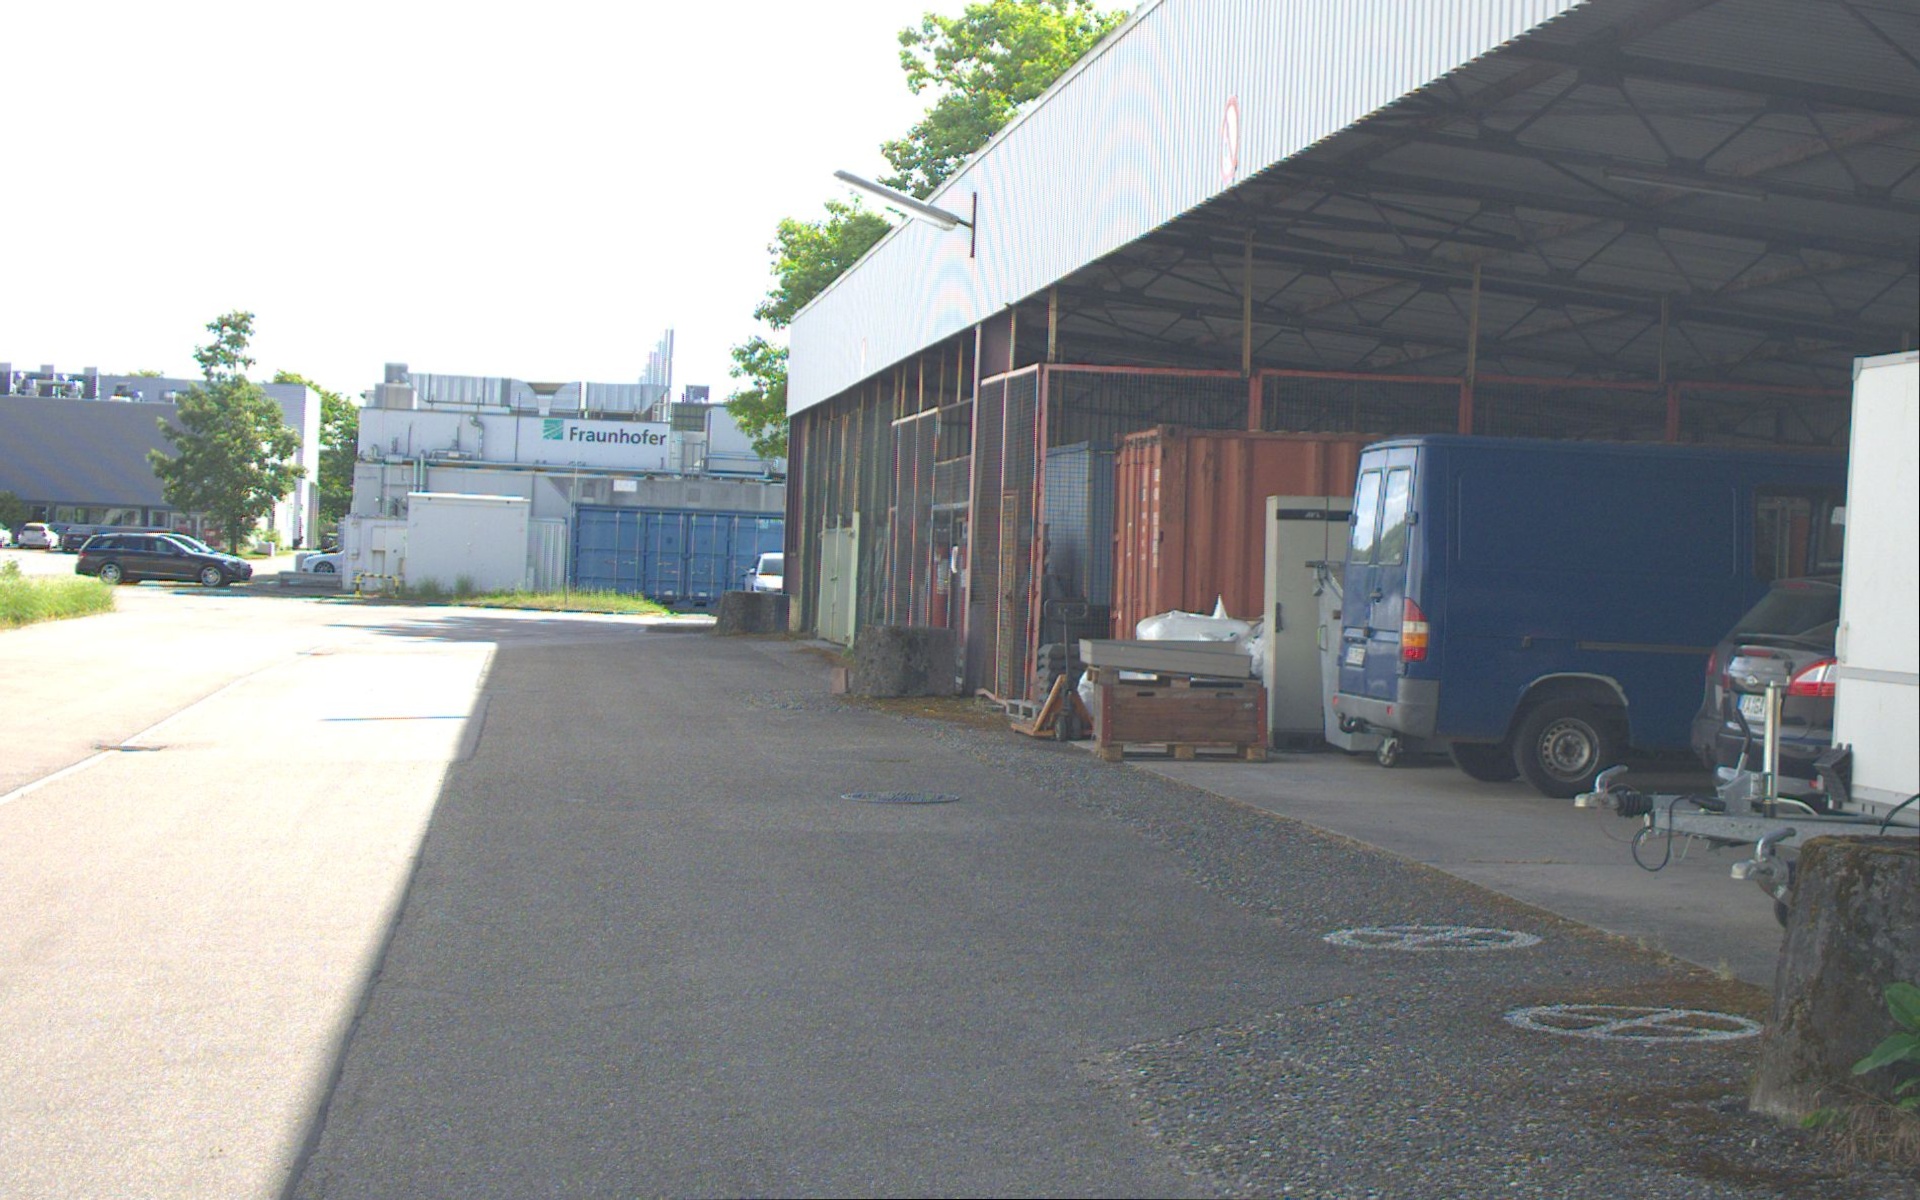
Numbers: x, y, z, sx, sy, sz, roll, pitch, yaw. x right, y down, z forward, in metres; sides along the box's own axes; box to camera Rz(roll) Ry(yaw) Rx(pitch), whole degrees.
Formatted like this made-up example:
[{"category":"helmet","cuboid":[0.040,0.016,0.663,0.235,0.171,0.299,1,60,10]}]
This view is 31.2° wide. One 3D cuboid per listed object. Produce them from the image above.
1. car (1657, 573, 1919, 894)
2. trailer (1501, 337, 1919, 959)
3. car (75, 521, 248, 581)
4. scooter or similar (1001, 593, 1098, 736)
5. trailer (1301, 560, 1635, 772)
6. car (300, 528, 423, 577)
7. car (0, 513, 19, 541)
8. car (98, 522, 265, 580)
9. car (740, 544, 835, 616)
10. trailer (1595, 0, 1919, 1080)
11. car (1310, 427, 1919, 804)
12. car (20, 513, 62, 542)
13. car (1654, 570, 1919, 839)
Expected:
[{"category":"car","cuboid":[5.812,0.619,16.713,4.342,1.428,1.865,1,1,-10]},{"category":"trailer","cuboid":[4.658,0.195,13.948,4.541,2.327,1.689,1,1,-6]},{"category":"car","cuboid":[-22.529,-1.372,97.130,4.528,1.438,1.988,2,-1,-7]},{"category":"scooter or similar","cuboid":[0.728,0.514,28.221,0.520,1.131,1.593,2,0,-8]},{"category":"trailer","cuboid":[3.713,0.470,25.384,2.094,1.457,1.642,2,0,-4]},{"category":"car","cuboid":[-21.778,-1.707,125.184,4.278,1.564,1.988,2,-1,-7]},{"category":"car","cuboid":[-53.438,-4.038,190.861,1.877,1.532,4.037,1,1,-10]},{"category":"car","cuboid":[-22.707,-1.419,100.392,4.528,1.438,1.904,2,-1,-7]},{"category":"car","cuboid":[-4.378,-0.524,86.676,1.980,1.588,4.342,3,2,-8]},{"category":"trailer","cuboid":[7.602,-0.220,11.759,10.291,3.284,2.676,1,1,-6]},{"category":"car","cuboid":[5.163,0.123,22.933,5.215,2.289,2.084,2,0,-8]},{"category":"car","cuboid":[-51.155,-4.011,191.366,1.877,1.532,4.037,1,1,-10]},{"category":"car","cuboid":[6.304,0.584,19.854,4.106,1.449,1.851,1,0,-7]}]
